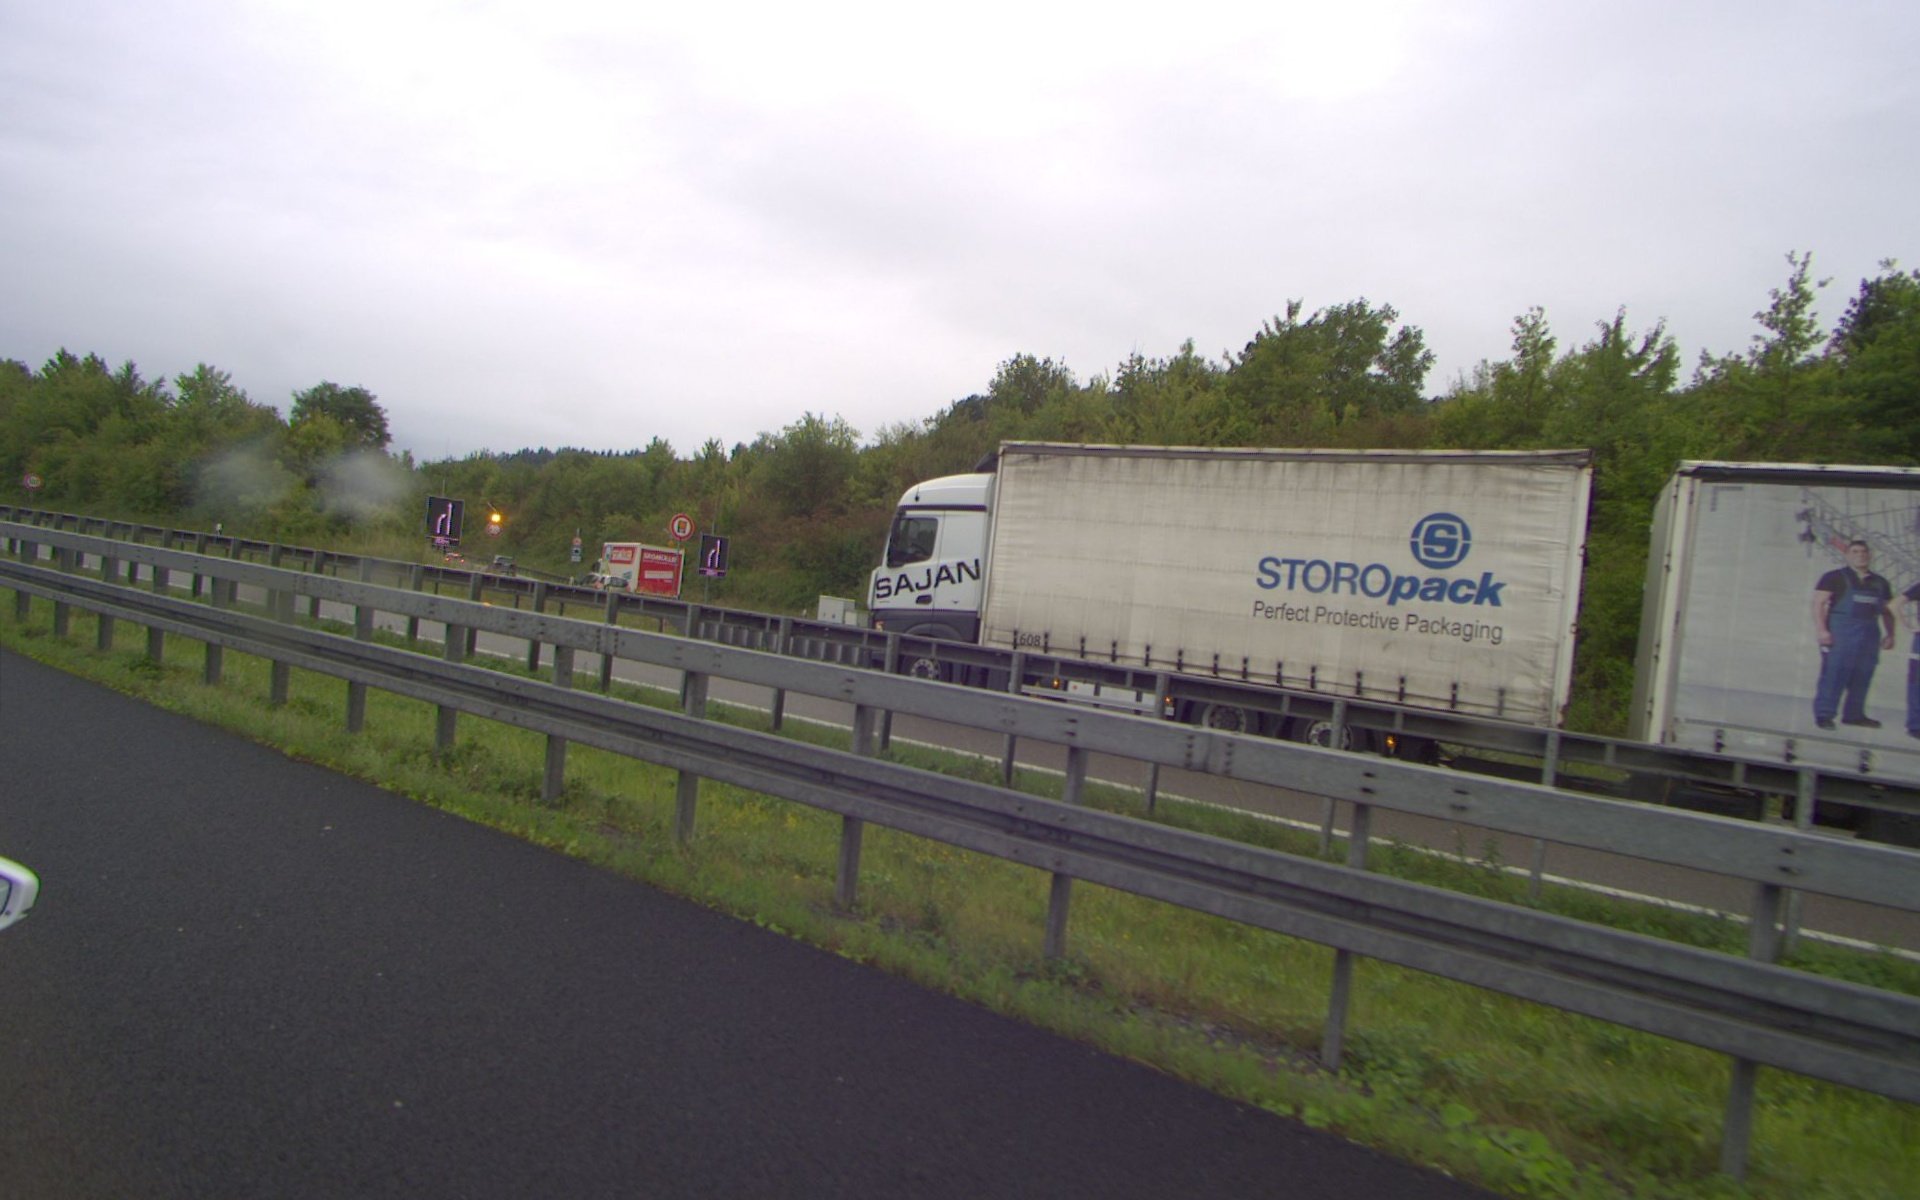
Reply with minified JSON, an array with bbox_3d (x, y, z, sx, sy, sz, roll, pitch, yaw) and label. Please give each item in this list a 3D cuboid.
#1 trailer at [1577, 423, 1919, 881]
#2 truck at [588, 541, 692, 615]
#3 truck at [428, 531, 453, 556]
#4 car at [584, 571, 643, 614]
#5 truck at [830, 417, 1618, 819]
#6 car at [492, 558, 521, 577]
[{"bbox_3d":[12.306,0.891,9.746,10.278,4.341,3.443,7,0,31],"label":"trailer"},{"bbox_3d":[-17.841,-1.316,55.600,2.881,3.435,8.896,7,-1,-33],"label":"truck"},{"bbox_3d":[-63.985,-6.923,123.902,2.420,2.737,5.529,7,-1,-28],"label":"truck"},{"bbox_3d":[-16.607,-0.384,48.061,1.845,1.678,4.441,7,-1,-28],"label":"car"},{"bbox_3d":[3.380,-0.135,15.074,10.242,4.341,3.443,7,0,31],"label":"truck"},{"bbox_3d":[-42.363,-3.040,93.889,1.846,1.464,4.125,7,-1,-31],"label":"car"}]
